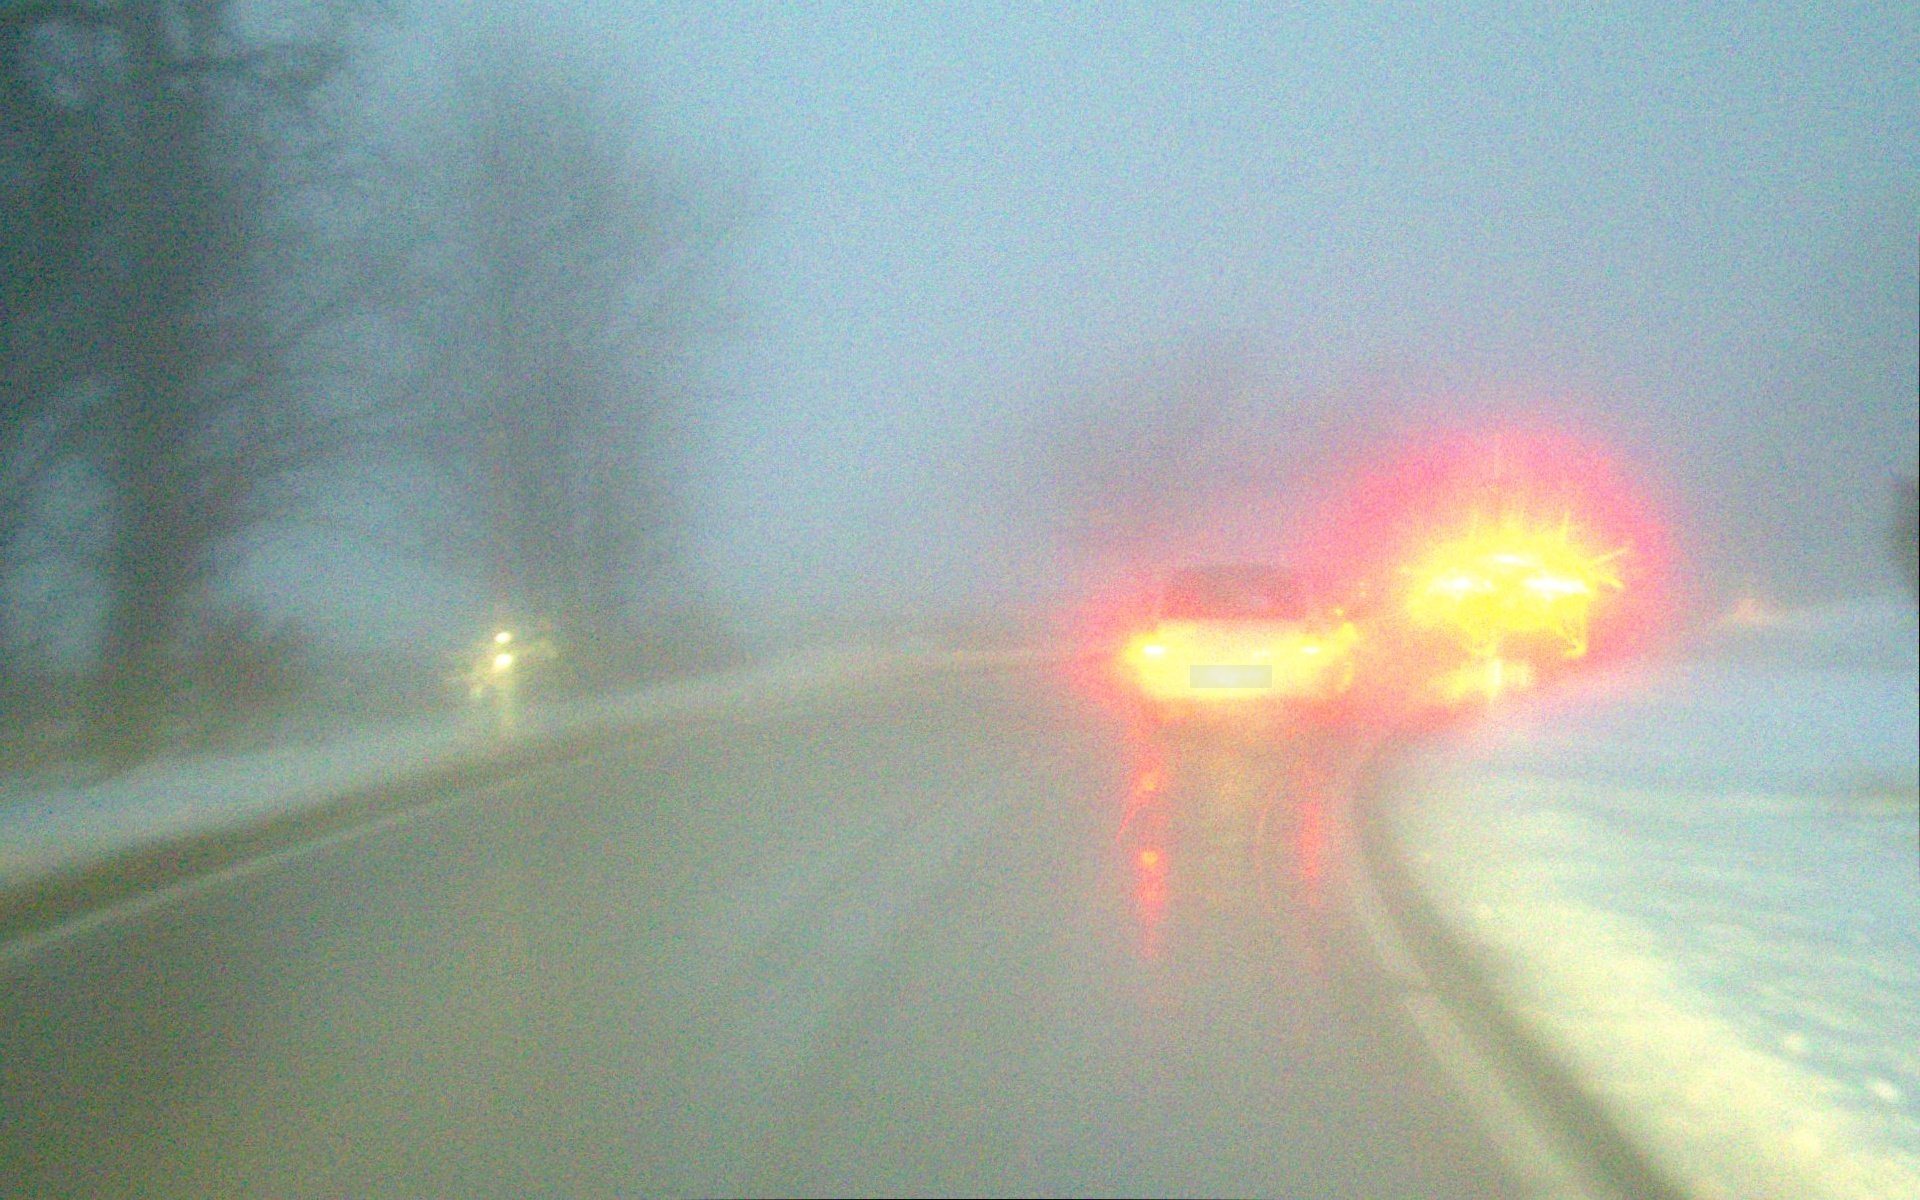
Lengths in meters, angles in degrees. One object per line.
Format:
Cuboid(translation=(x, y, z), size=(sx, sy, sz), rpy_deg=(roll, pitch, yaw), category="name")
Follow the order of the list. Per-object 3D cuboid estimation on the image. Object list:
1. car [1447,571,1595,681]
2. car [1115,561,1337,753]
Cuboid(translation=(8.179, 0.359, 49.953), size=(1.480, 1.503, 3.049), rpy_deg=(-1, 1, 21), category="car")
Cuboid(translation=(2.275, 0.425, 29.061), size=(1.707, 1.458, 3.999), rpy_deg=(1, 1, 5), category="car")
